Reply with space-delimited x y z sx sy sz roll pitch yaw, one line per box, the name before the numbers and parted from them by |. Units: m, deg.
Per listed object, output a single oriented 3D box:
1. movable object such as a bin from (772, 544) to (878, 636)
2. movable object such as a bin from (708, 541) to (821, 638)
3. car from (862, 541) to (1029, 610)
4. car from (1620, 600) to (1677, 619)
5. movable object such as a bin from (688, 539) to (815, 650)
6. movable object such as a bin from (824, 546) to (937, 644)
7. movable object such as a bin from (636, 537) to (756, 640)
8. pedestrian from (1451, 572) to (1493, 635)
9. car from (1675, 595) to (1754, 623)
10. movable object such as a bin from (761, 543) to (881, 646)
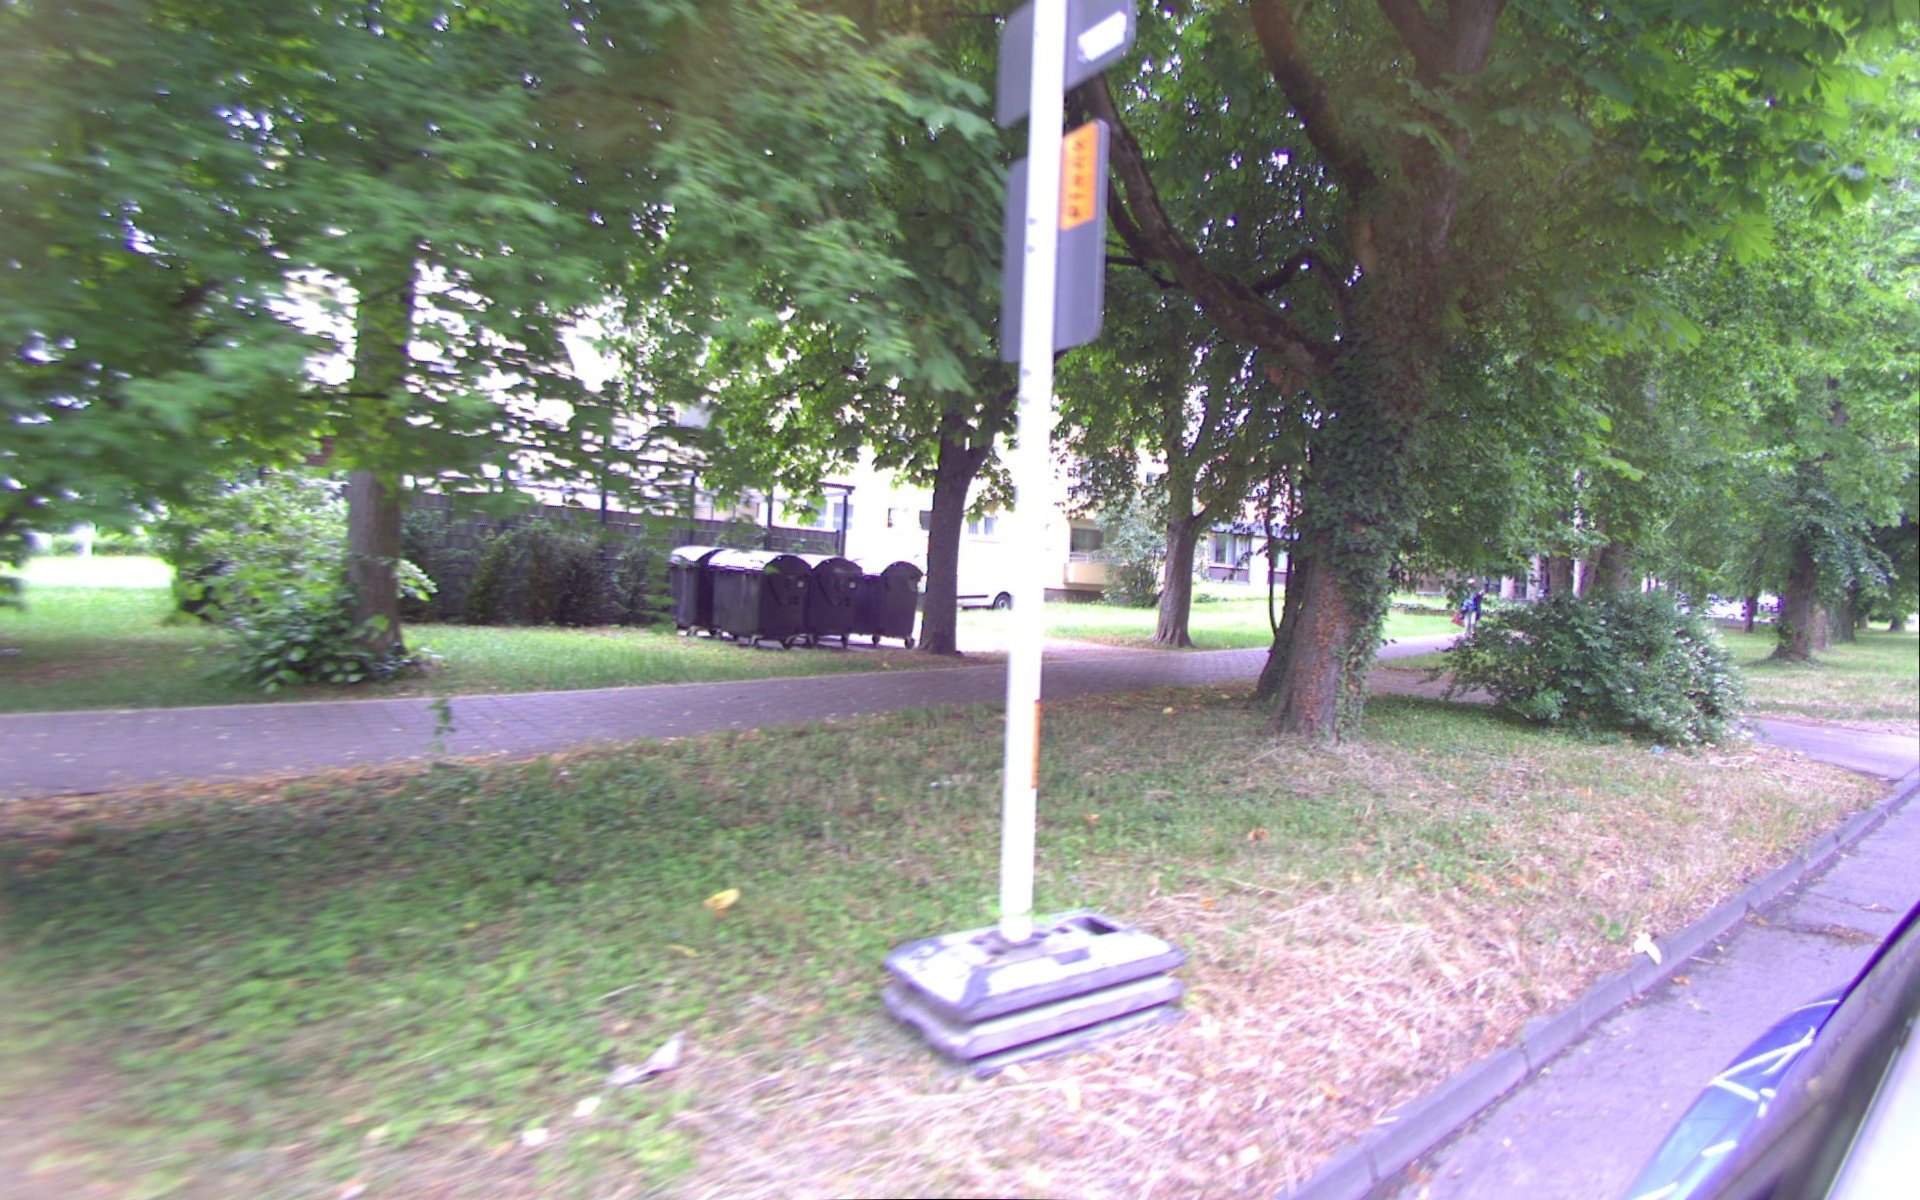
movable object such as a bin | -2.405 -0.186 18.043 1.327 1.519 1.294 4 2 43
movable object such as a bin | -3.291 -0.183 17.047 1.327 1.519 1.294 4 2 43
car | -0.400 -0.750 31.858 4.873 1.865 2.093 3 1 -36
car | 63.177 0.899 92.880 3.928 1.529 1.798 2 0 4
movable object such as a bin | -3.101 -0.101 15.056 1.327 1.519 1.294 4 2 43
movable object such as a bin | -1.331 -0.101 17.039 1.327 1.519 1.294 4 2 43
movable object such as a bin | -4.188 -0.189 16.057 1.327 1.519 1.294 4 2 43
pedestrian | 14.274 0.085 28.208 0.768 1.707 0.801 4 2 44
car | 68.846 0.779 92.405 5.241 2.328 2.286 2 0 10
movable object such as a bin | -2.210 -0.104 16.039 1.327 1.519 1.294 4 2 43
